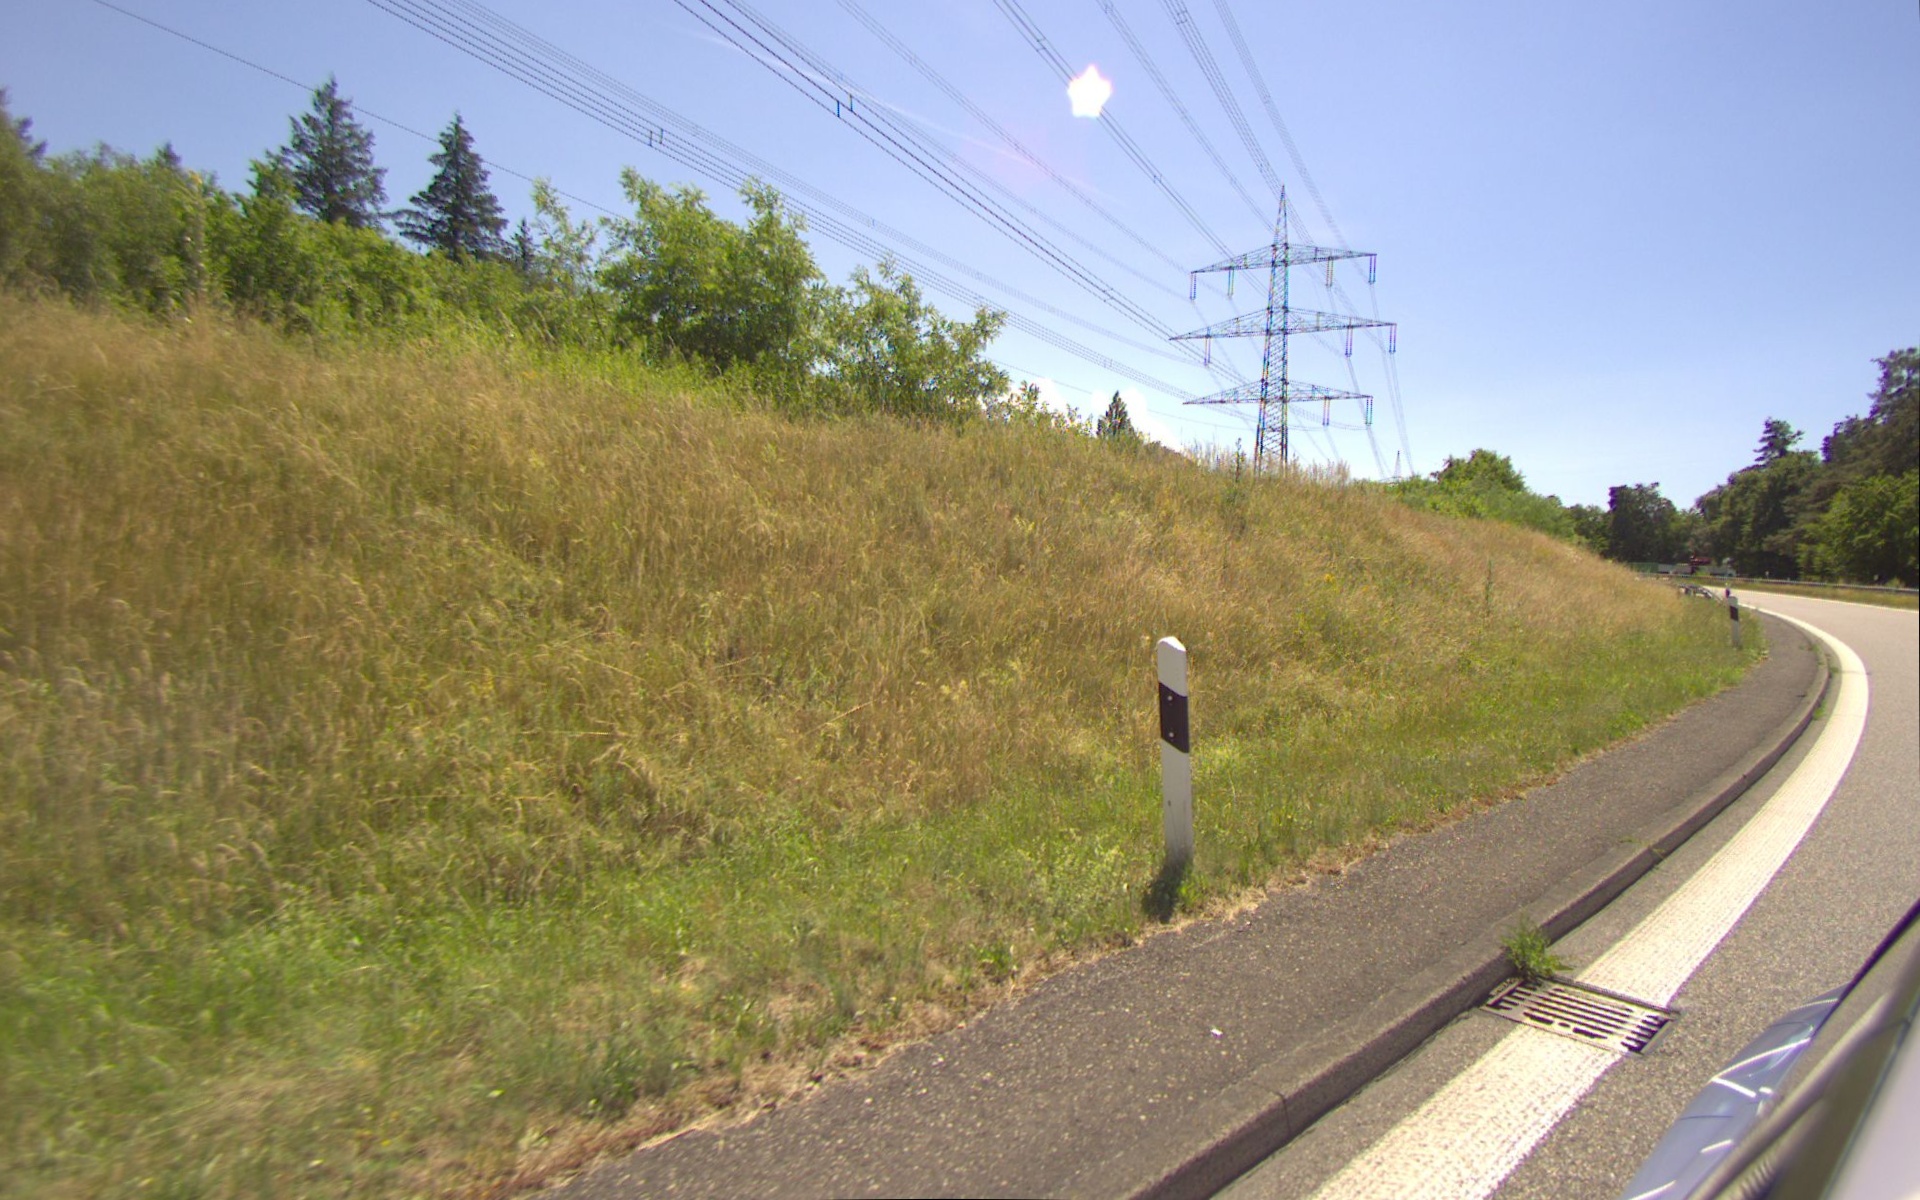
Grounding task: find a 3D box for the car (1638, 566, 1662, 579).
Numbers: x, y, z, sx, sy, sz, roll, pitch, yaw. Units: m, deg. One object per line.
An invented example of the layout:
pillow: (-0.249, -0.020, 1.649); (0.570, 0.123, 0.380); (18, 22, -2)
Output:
car: (98.324, -3.938, 144.221); (1.981, 1.660, 5.226); (5, 4, 26)
